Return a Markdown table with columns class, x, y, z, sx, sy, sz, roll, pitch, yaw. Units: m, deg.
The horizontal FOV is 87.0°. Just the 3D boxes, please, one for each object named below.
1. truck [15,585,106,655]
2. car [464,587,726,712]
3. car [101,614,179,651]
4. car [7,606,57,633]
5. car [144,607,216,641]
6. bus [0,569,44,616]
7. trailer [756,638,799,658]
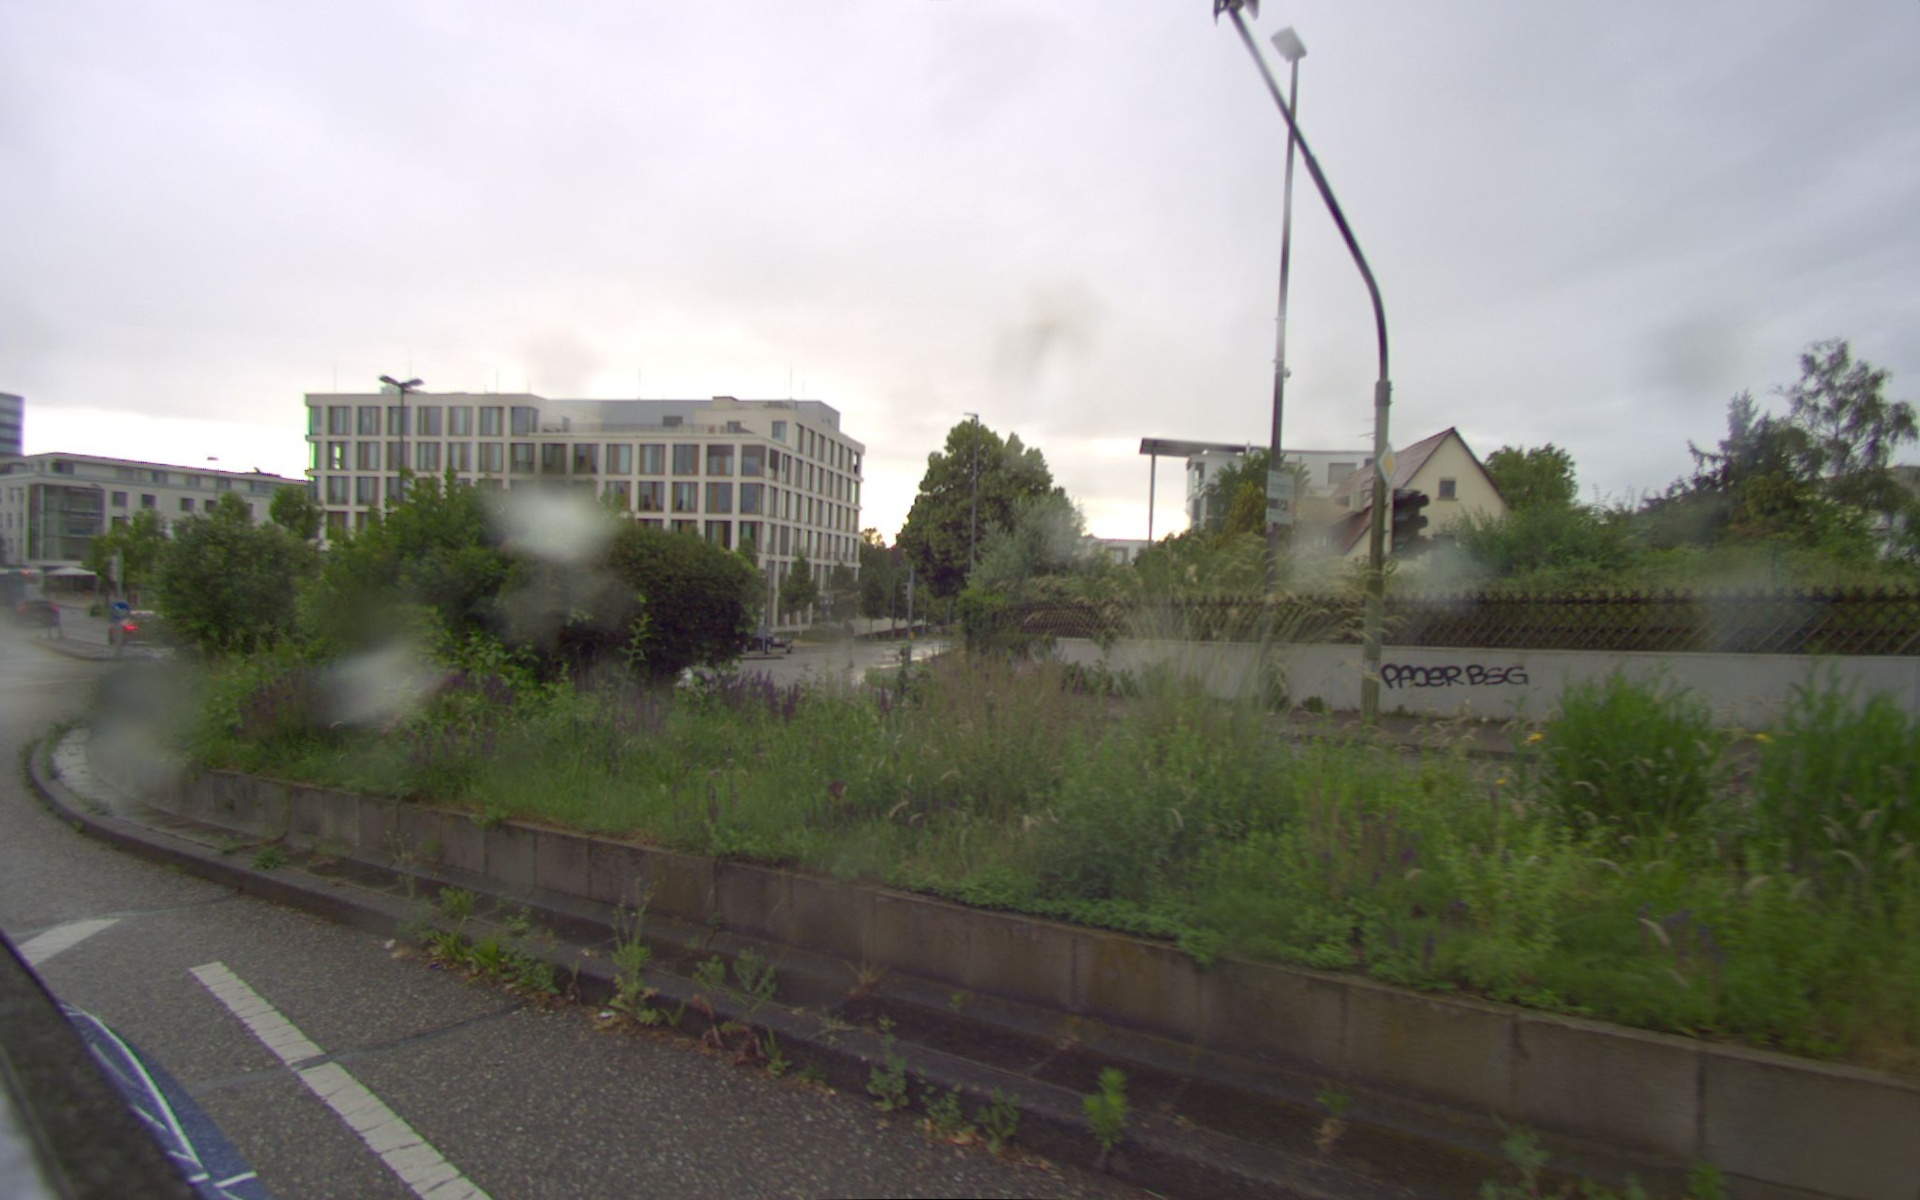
| class | x | y | z | sx | sy | sz | roll | pitch | yaw |
| --- | --- | --- | --- | --- | --- | --- | --- | --- | --- |
| truck | -34.423 | 0.701 | 38.661 | 6.202 | 2.458 | 2.139 | 0 | 0 | 44 |
| car | -5.823 | 0.697 | 15.845 | 4.598 | 1.674 | 1.972 | -1 | -2 | 43 |
| car | -34.884 | 1.330 | 43.017 | 4.431 | 1.424 | 1.972 | 1 | 0 | 43 |
| car | -55.207 | 1.136 | 60.181 | 4.075 | 1.564 | 1.882 | 0 | -1 | 43 |
| car | -37.717 | 1.139 | 48.910 | 4.294 | 1.489 | 1.929 | 0 | -2 | 41 |
| bus | -90.213 | -0.720 | 93.971 | 18.173 | 4.025 | 2.920 | 1 | -2 | 33 |
| trailer | -9.870 | 2.574 | 54.872 | 1.591 | 0.986 | 2.278 | 2 | -2 | 10 |
